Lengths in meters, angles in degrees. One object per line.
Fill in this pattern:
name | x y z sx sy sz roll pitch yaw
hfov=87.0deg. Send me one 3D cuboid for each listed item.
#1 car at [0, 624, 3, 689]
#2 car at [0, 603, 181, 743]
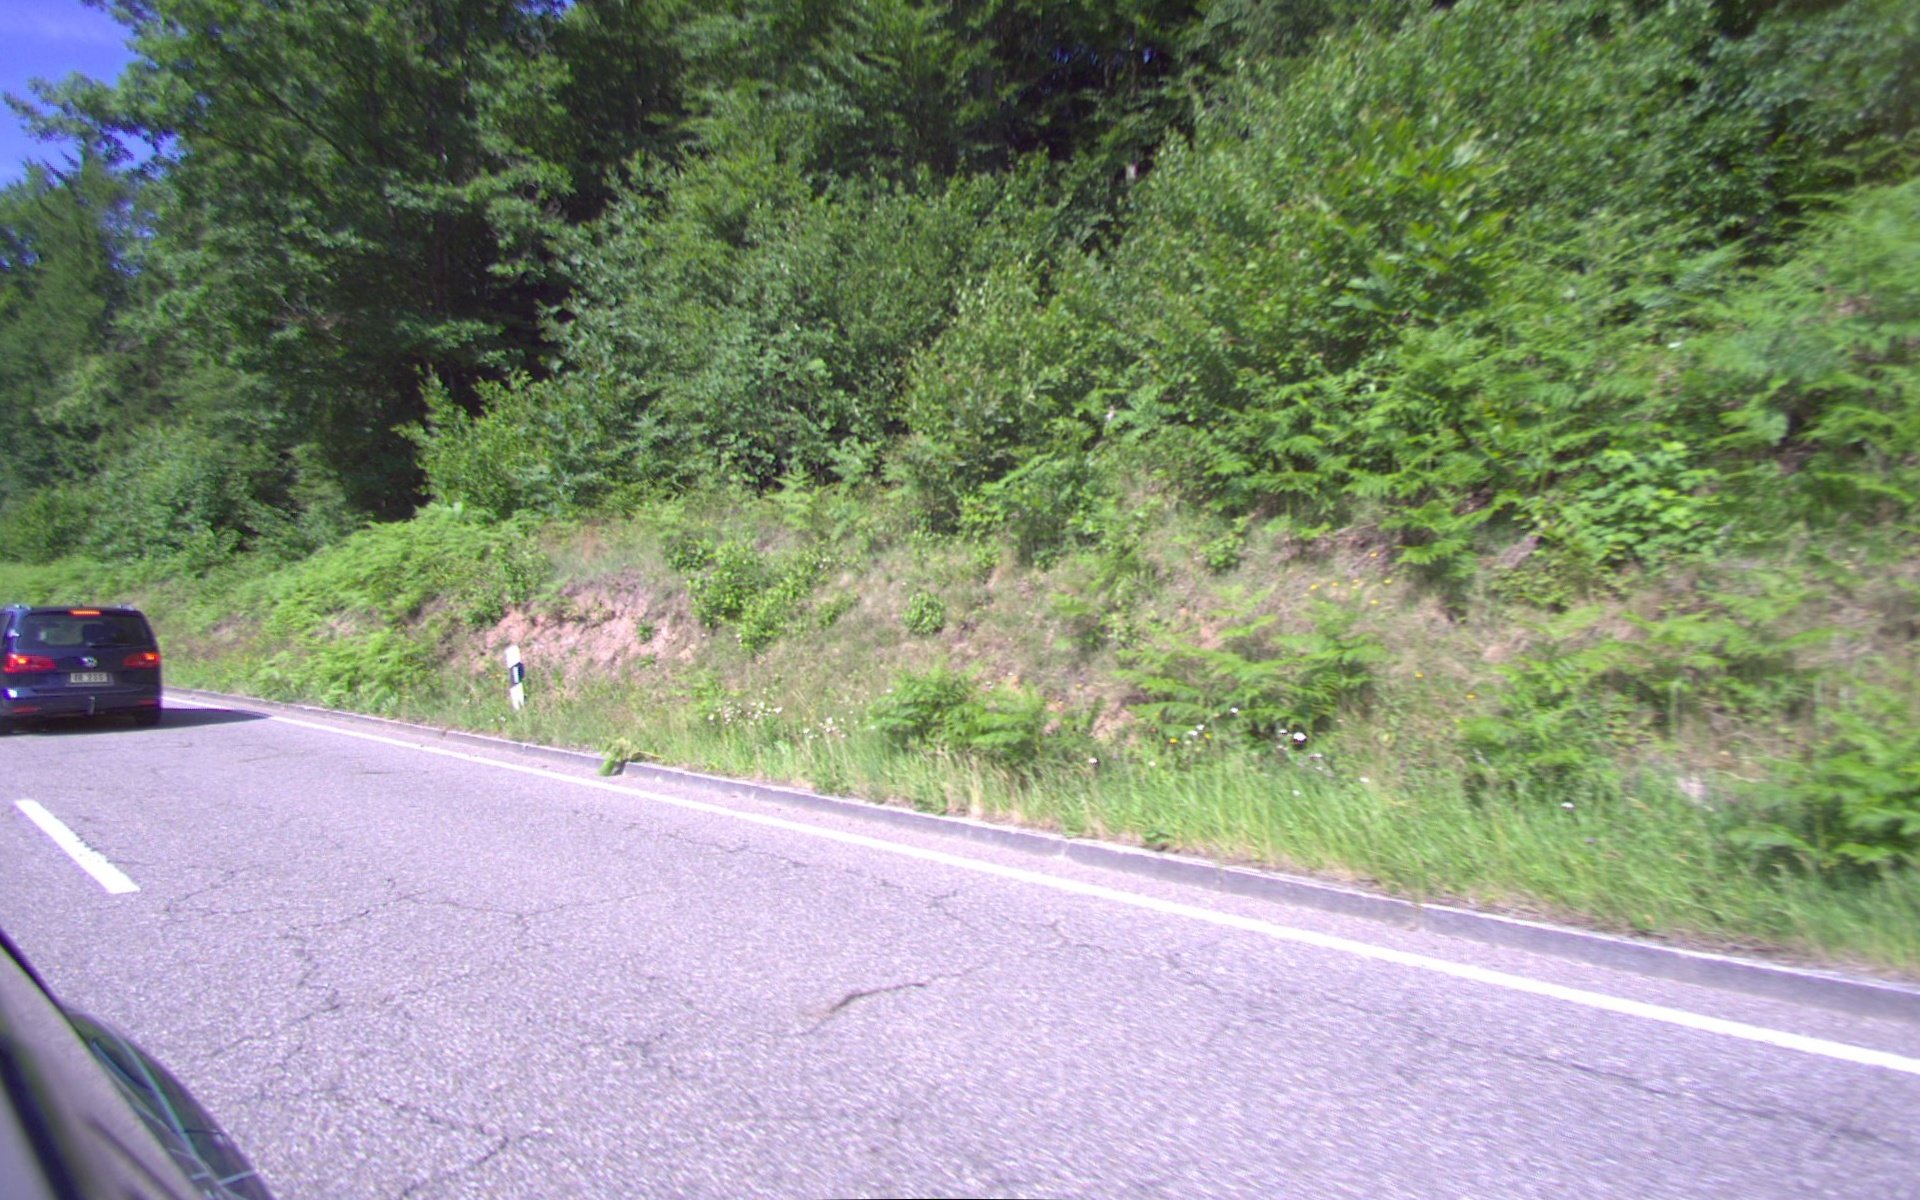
car | -23.451 1.268 23.021 4.672 1.442 1.815 -1 -2 39
car | -12.502 0.932 13.936 4.346 1.641 1.815 -2 -3 39
